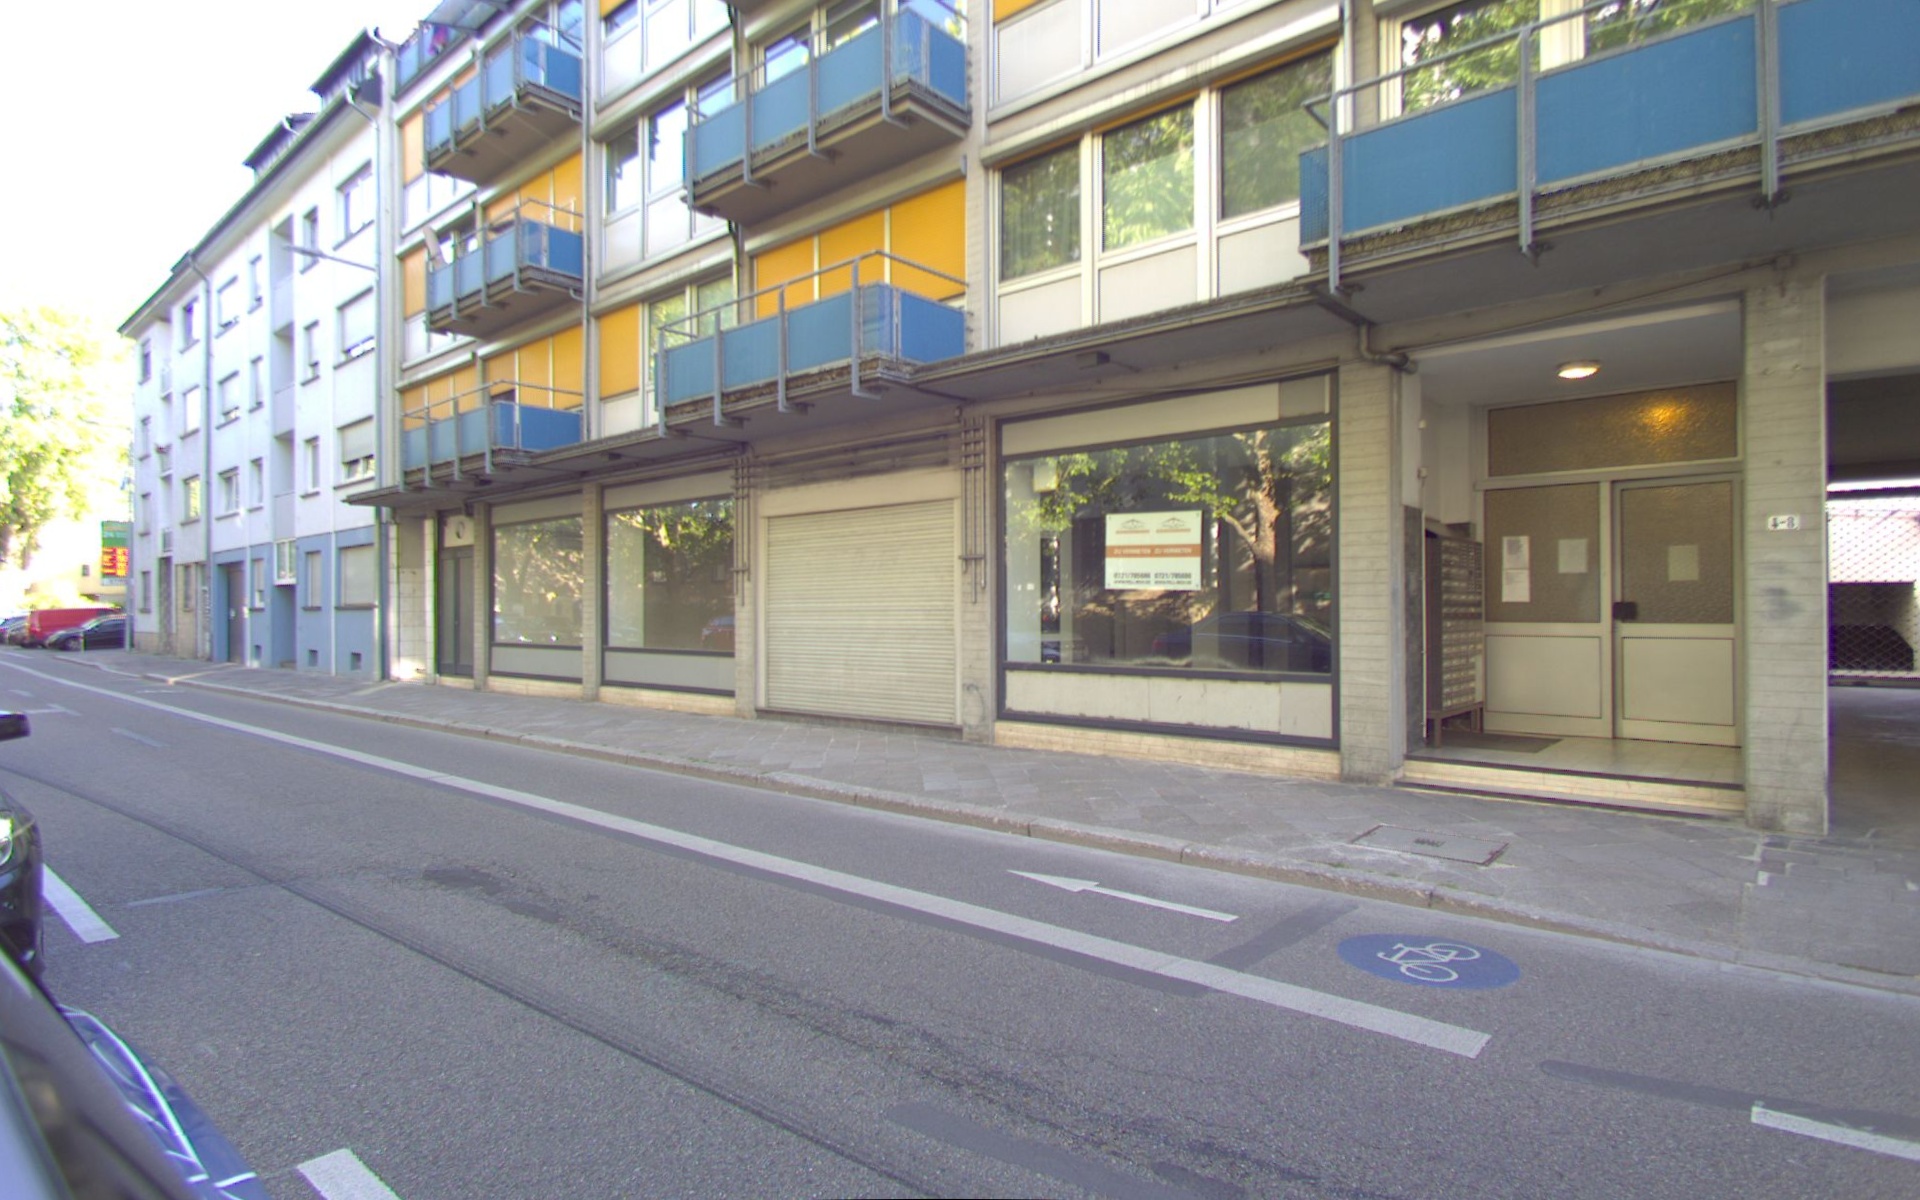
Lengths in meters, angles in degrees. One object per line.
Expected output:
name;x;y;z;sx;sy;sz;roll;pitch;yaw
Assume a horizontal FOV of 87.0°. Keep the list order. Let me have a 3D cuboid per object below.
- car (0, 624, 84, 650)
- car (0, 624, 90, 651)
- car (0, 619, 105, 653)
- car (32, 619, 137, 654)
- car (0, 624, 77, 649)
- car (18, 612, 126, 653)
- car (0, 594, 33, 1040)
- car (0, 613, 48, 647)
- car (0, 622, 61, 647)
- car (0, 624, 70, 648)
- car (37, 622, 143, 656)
car;-53.358;2.121;58.550;1.594;1.385;3.854;-1;0;42
car;-51.844;2.101;57.211;1.594;1.385;3.854;-1;0;42
car;-46.048;1.784;51.393;1.603;1.598;3.854;-1;0;42
car;-41.508;1.704;48.037;1.602;1.521;3.620;-1;0;42
car;-55.374;2.182;60.429;1.525;1.343;3.854;-1;0;42
car;-43.701;1.569;49.855;1.749;1.921;3.854;-1;-1;42
car;-5.426;0.765;4.198;4.291;1.515;1.805;-1;0;40
car;-62.709;1.973;66.578;1.725;2.193;3.854;-1;0;42
car;-59.210;2.194;63.748;1.539;1.451;3.733;-1;0;42
car;-57.180;2.205;61.990;1.525;1.343;3.854;-1;0;42
car;-39.790;1.750;46.341;1.534;1.420;3.551;-2;-1;42
